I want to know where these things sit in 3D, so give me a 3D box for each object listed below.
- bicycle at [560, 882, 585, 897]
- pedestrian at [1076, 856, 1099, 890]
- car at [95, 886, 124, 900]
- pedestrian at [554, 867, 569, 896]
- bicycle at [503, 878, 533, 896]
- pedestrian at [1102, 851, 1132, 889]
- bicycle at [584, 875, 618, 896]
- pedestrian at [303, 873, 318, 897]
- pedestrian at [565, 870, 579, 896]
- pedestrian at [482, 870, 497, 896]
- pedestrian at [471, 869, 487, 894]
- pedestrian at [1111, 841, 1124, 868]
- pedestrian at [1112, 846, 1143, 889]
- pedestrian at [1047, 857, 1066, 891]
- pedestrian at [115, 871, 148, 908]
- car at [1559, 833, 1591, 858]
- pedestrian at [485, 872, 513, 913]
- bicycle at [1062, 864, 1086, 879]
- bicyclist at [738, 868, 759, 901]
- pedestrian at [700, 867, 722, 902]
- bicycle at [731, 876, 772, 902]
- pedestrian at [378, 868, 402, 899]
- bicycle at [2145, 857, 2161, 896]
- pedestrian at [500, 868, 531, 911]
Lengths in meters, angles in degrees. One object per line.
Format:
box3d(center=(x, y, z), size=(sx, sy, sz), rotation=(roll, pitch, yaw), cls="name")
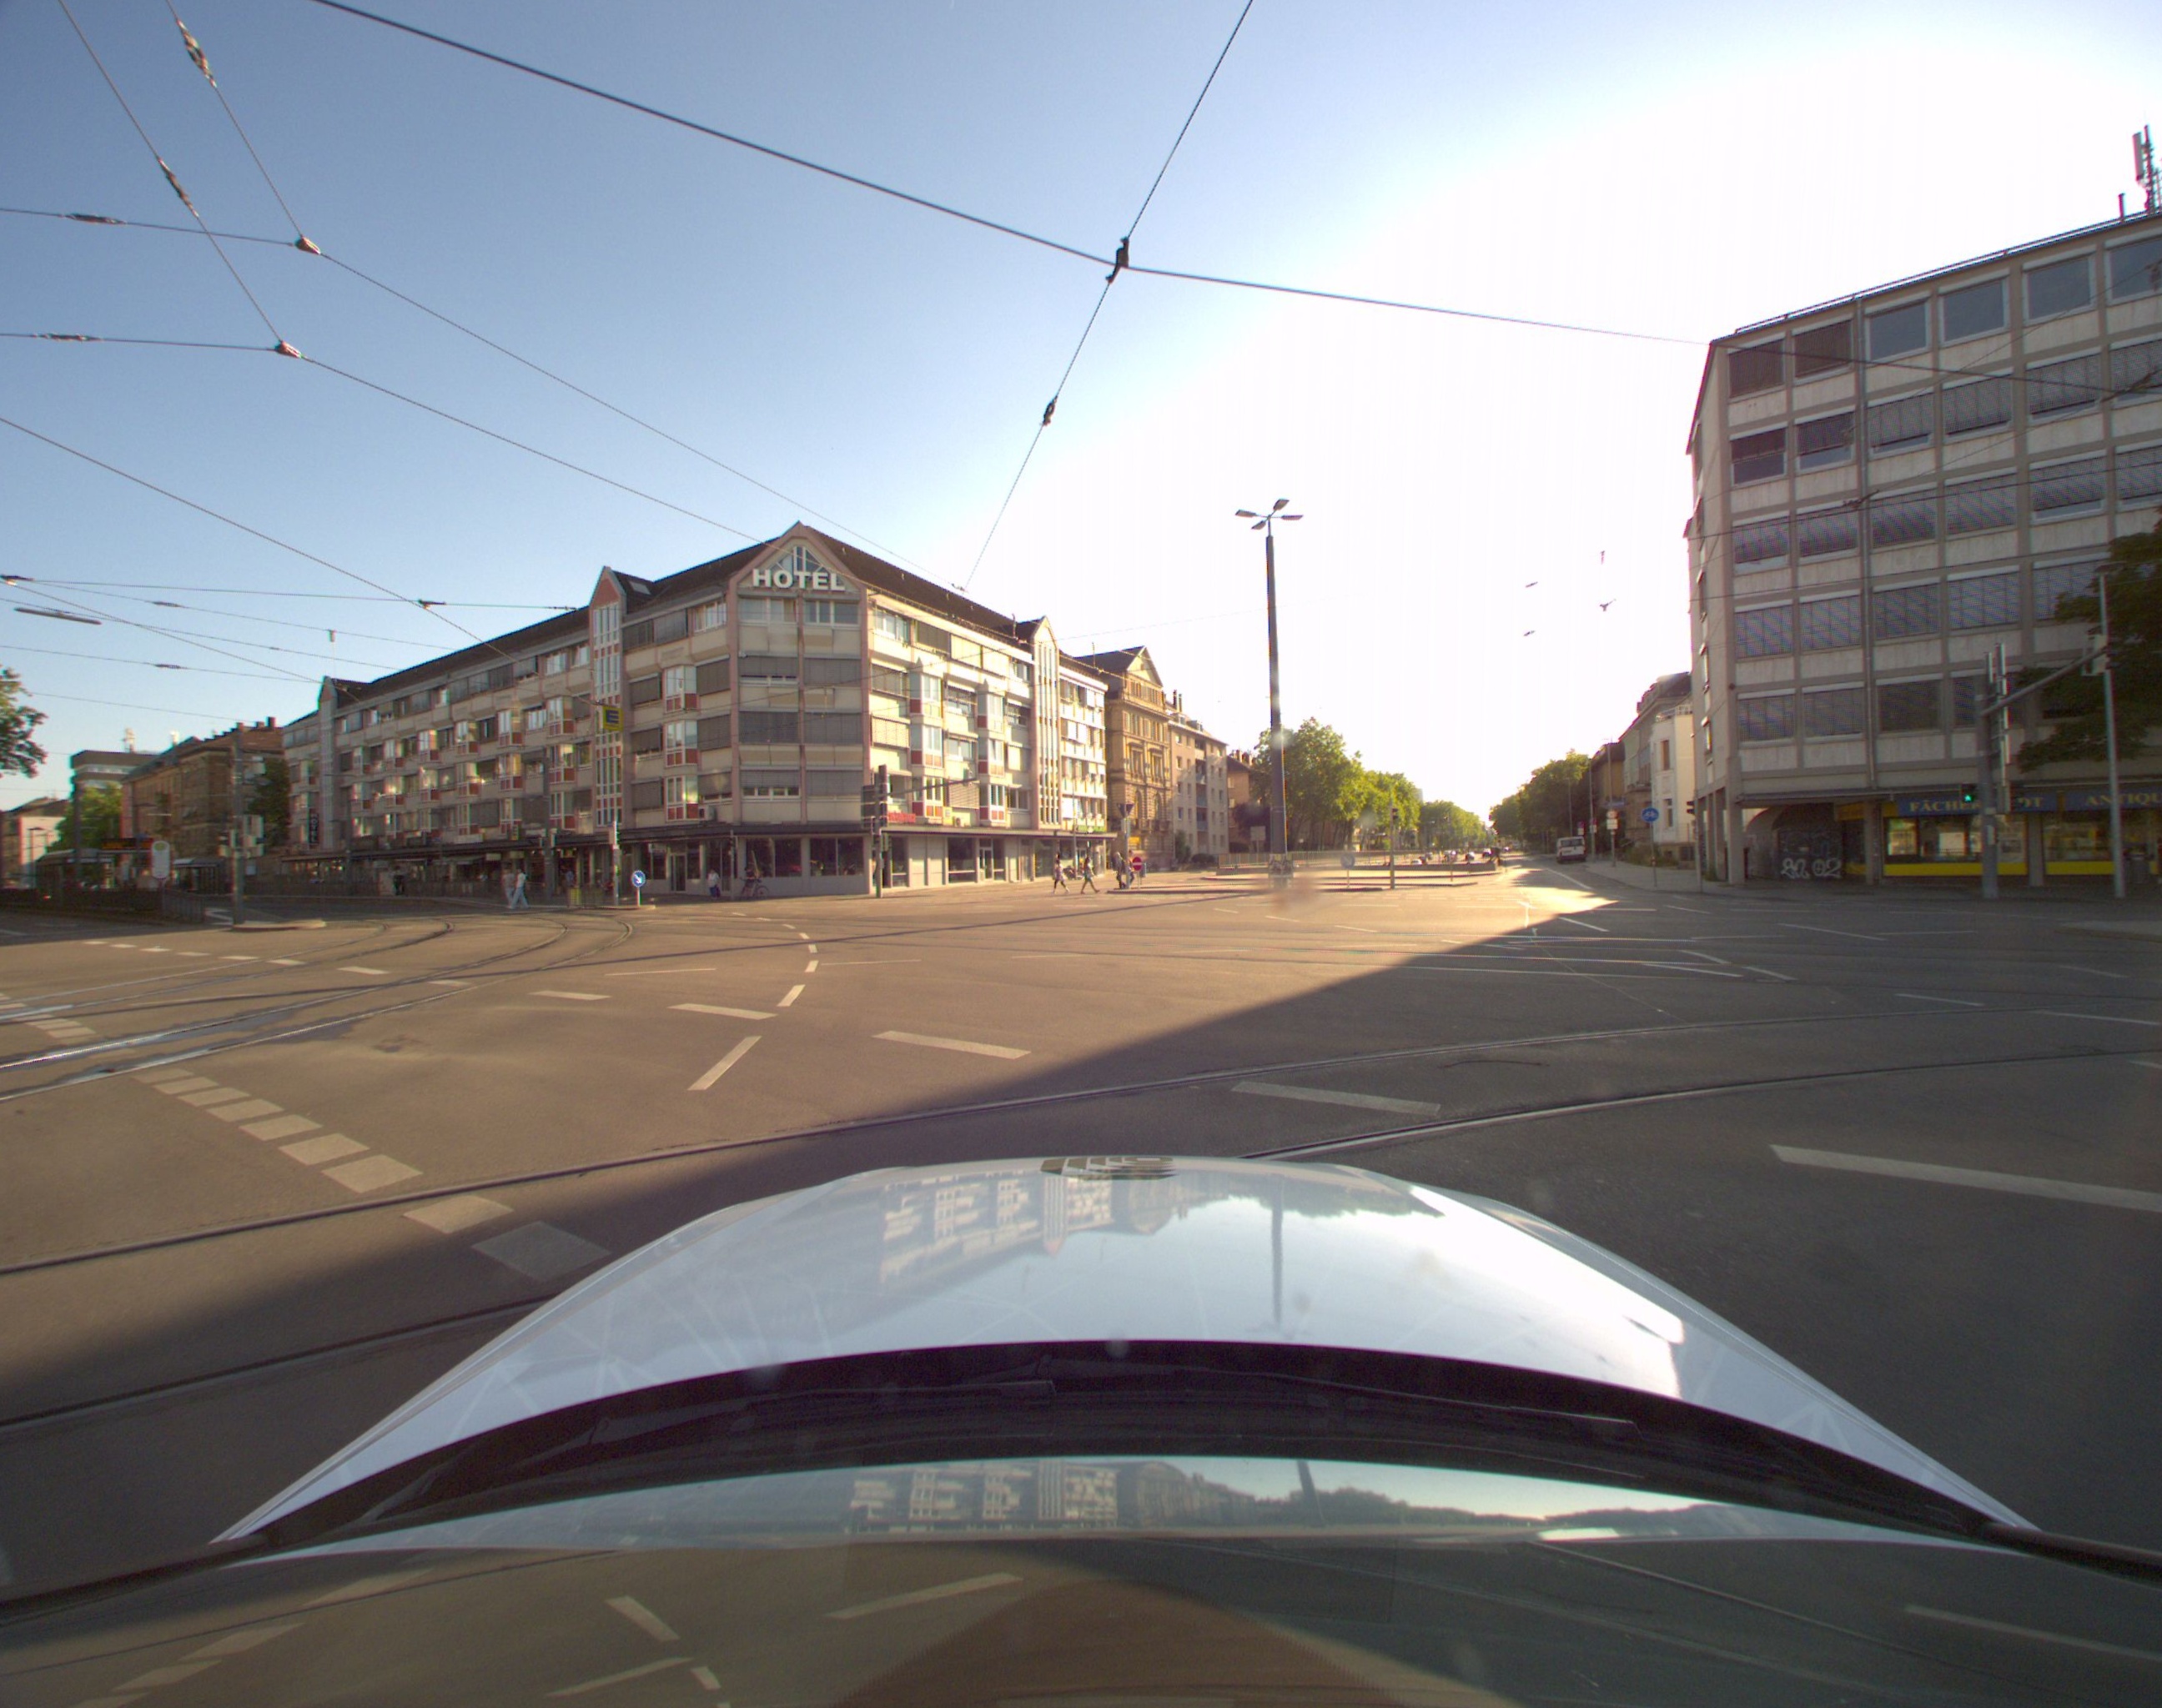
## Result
box3d(center=(-31.142, 2.167, 49.860), size=(2.051, 0.917, 0.504), rotation=(-2, -1, 33), cls="bicycle")
box3d(center=(0.289, 0.808, 35.263), size=(0.698, 1.453, 0.861), rotation=(0, 0, 23), cls="pedestrian")
box3d(center=(-125.485, 5.057, 105.182), size=(3.948, 1.552, 2.013), rotation=(0, 0, 34), cls="car")
box3d(center=(-33.817, 1.787, 53.009), size=(0.596, 1.852, 0.614), rotation=(0, 0, 37), cls="pedestrian")
box3d(center=(-38.442, 2.249, 55.622), size=(0.559, 1.119, 1.659), rotation=(0, 0, 27), cls="bicycle")
box3d(center=(1.679, 0.747, 38.150), size=(1.184, 1.731, 0.861), rotation=(0, 0, 23), cls="pedestrian")
box3d(center=(-28.531, 1.869, 48.401), size=(2.302, 1.227, 0.734), rotation=(-2, -1, 33), cls="bicycle")
box3d(center=(-67.703, 2.719, 71.527), size=(0.767, 2.013, 0.847), rotation=(0, 0, 36), cls="pedestrian")
box3d(center=(-31.964, 1.829, 51.185), size=(0.610, 1.635, 0.600), rotation=(0, 0, -17), cls="pedestrian")
box3d(center=(-41.380, 1.996, 56.946), size=(0.823, 1.778, 0.673), rotation=(0, 0, -33), cls="pedestrian")
box3d(center=(-40.415, 1.814, 54.678), size=(0.543, 1.645, 0.758), rotation=(0, 0, 37), cls="pedestrian")
box3d(center=(3.320, 0.022, 73.466), size=(0.919, 2.398, 0.965), rotation=(0, 0, 17), cls="pedestrian")
box3d(center=(2.091, 0.580, 36.627), size=(1.184, 1.883, 0.861), rotation=(0, 1, 23), cls="pedestrian")
box3d(center=(-1.102, 0.904, 36.685), size=(0.851, 1.465, 0.685), rotation=(0, -5, -2), cls="pedestrian")
box3d(center=(-41.901, 1.557, 35.940), size=(0.616, 1.578, 0.692), rotation=(0, 0, 7), cls="pedestrian")
box3d(center=(44.272, -0.750, 73.134), size=(2.264, 2.172, 4.863), rotation=(0, 0, 29), cls="car")
box3d(center=(-24.800, 1.632, 34.701), size=(0.620, 1.694, 0.866), rotation=(0, 0, -4), cls="pedestrian")
box3d(center=(-0.535, 1.338, 61.765), size=(0.447, 1.070, 2.104), rotation=(0, 0, 44), cls="bicycle")
box3d(center=(-16.347, 1.493, 40.081), size=(0.633, 1.596, 0.662), rotation=(0, 3, 31), cls="bicyclist")
box3d(center=(-18.299, 1.500, 40.307), size=(0.711, 1.662, 0.634), rotation=(-2, -1, 3), cls="pedestrian")
box3d(center=(-16.262, 1.713, 40.231), size=(0.633, 1.145, 1.781), rotation=(0, 3, 31), cls="bicycle")
box3d(center=(-37.936, 1.588, 44.712), size=(0.675, 1.660, 0.785), rotation=(0, 0, 22), cls="pedestrian")
box3d(center=(26.783, 0.543, 19.174), size=(2.006, 0.940, 0.675), rotation=(0, 0, 26), cls="bicycle")
box3d(center=(-23.664, 1.479, 34.075), size=(0.506, 1.764, 1.008), rotation=(0, 0, 8), cls="pedestrian")
